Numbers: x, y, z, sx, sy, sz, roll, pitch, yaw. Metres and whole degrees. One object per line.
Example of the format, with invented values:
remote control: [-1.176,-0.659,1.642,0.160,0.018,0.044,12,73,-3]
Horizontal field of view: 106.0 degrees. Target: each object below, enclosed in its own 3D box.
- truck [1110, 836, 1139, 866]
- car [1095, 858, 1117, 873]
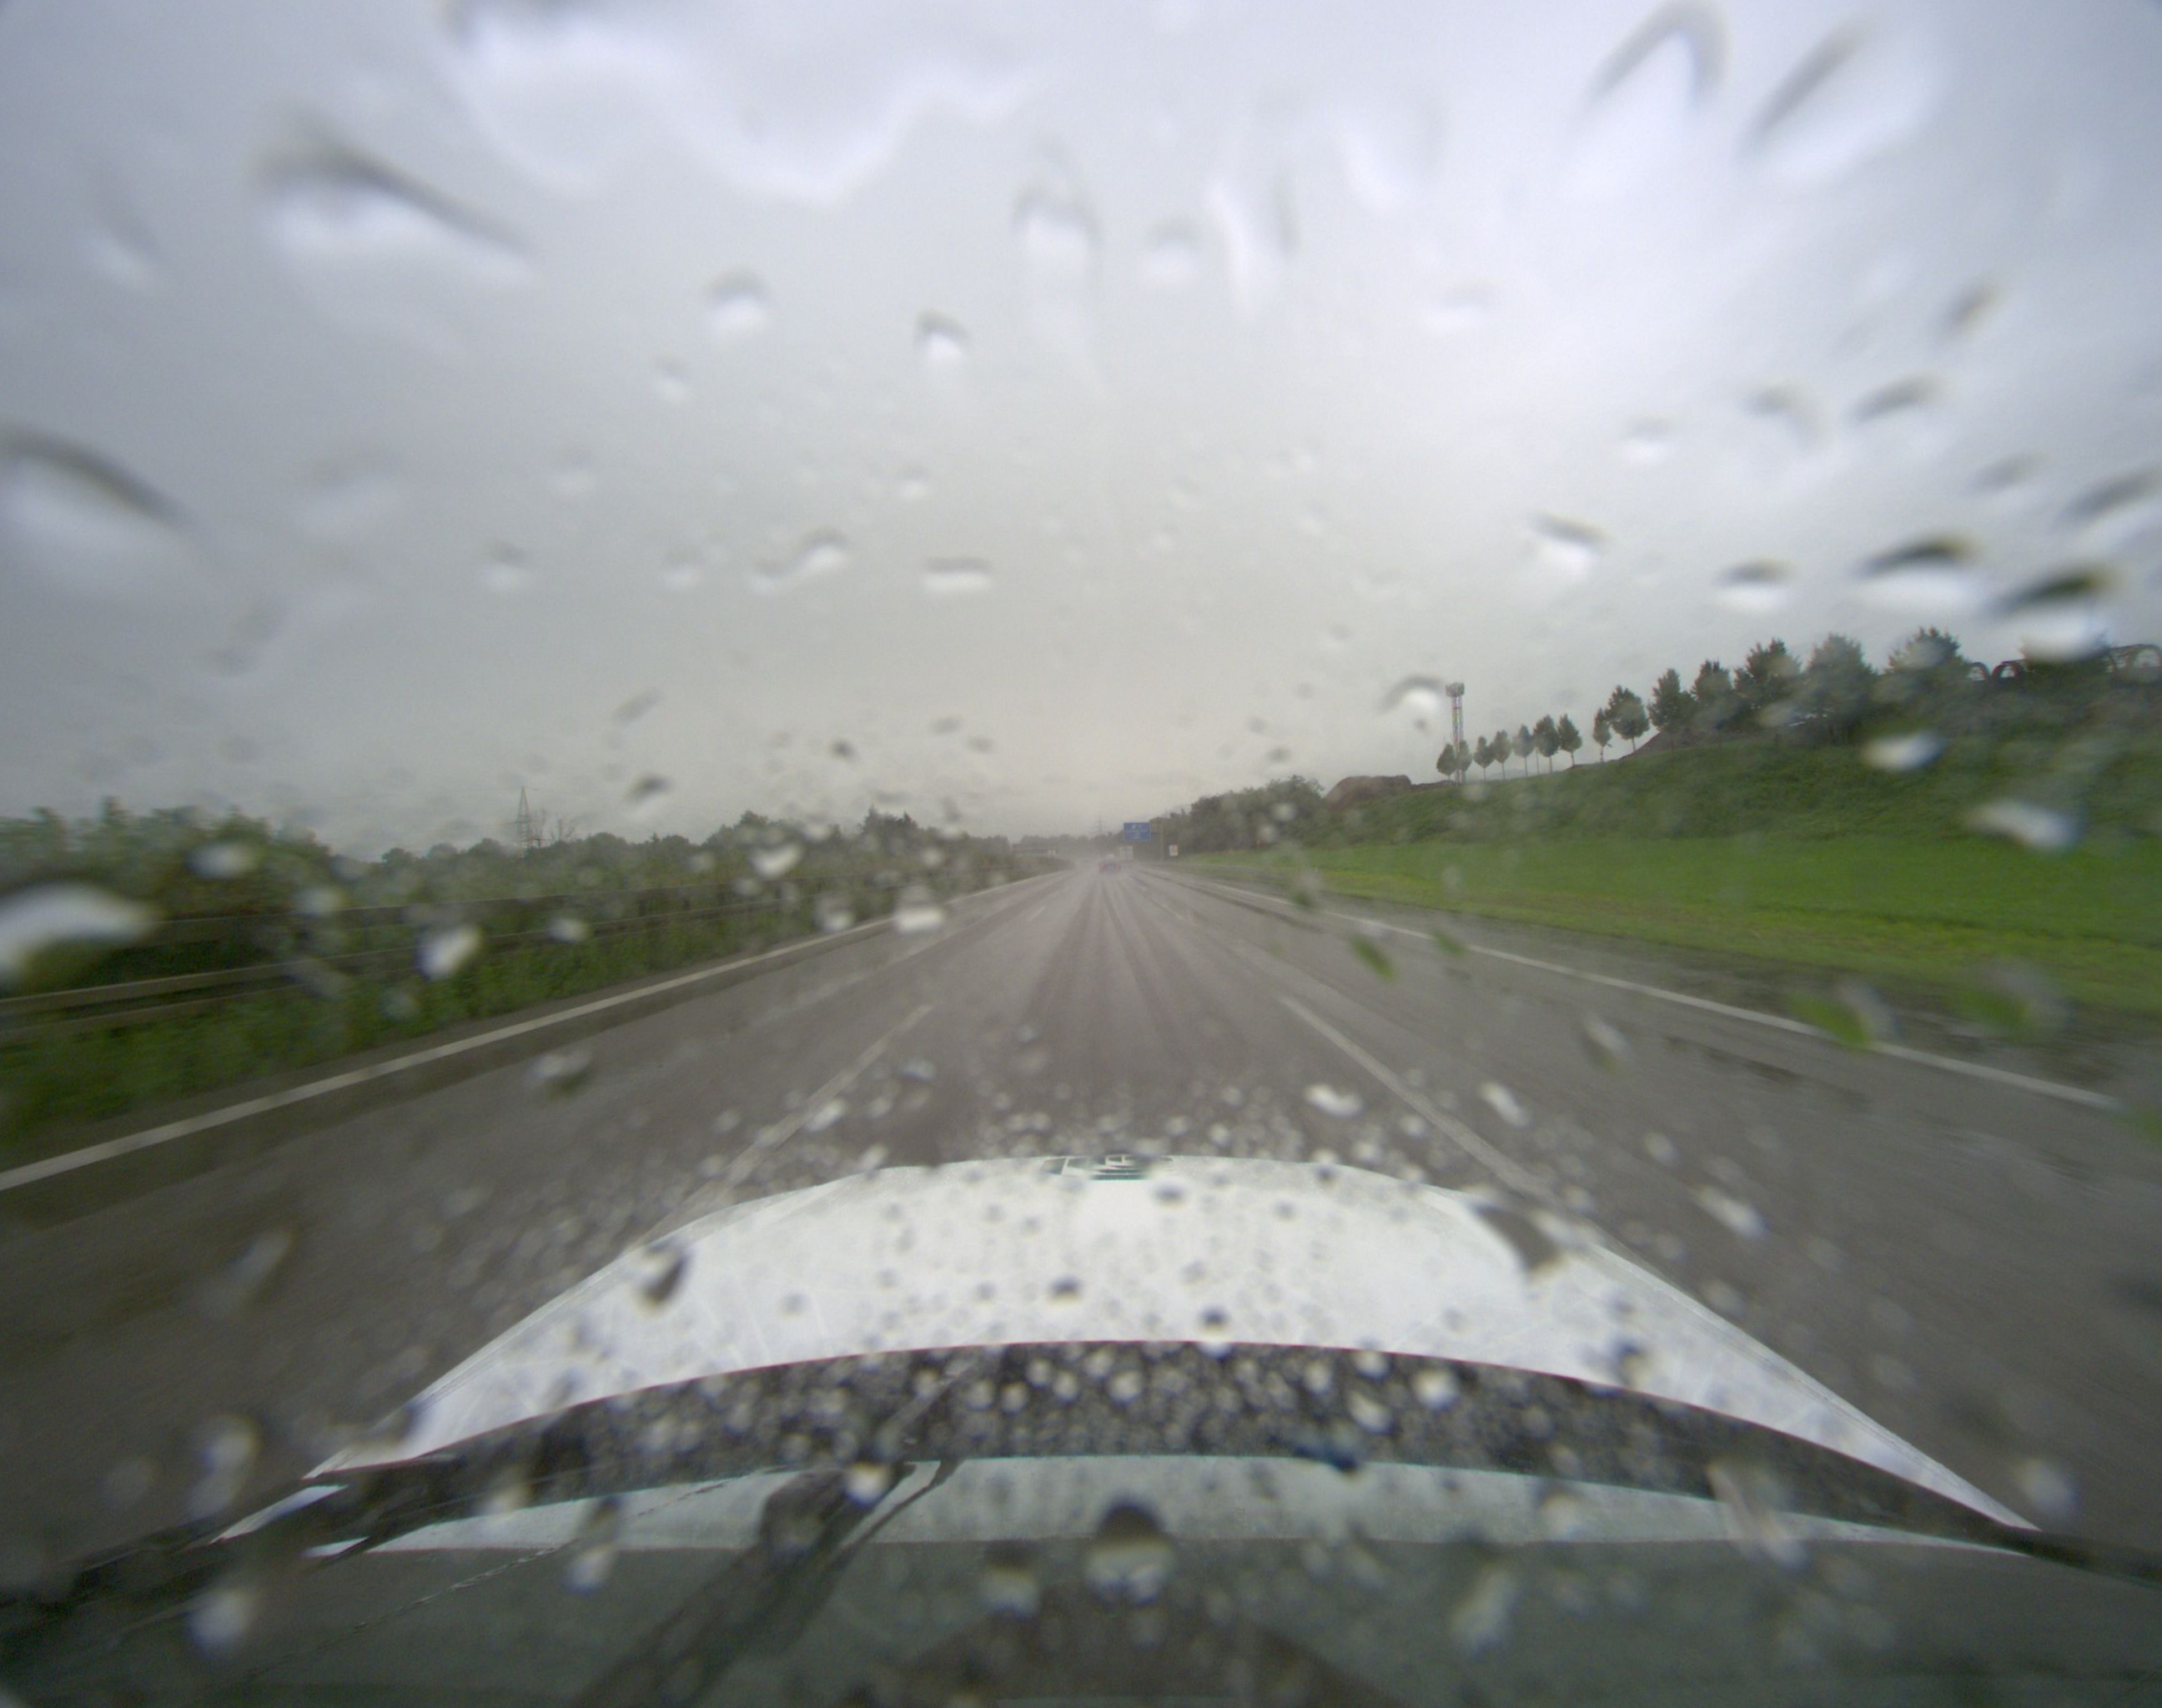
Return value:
truck: [8.027,-0.495,152.547,4.243,4.972,17.337,-4,0,0]
car: [2.050,0.983,68.228,1.742,1.212,4.000,-1,-1,1]
